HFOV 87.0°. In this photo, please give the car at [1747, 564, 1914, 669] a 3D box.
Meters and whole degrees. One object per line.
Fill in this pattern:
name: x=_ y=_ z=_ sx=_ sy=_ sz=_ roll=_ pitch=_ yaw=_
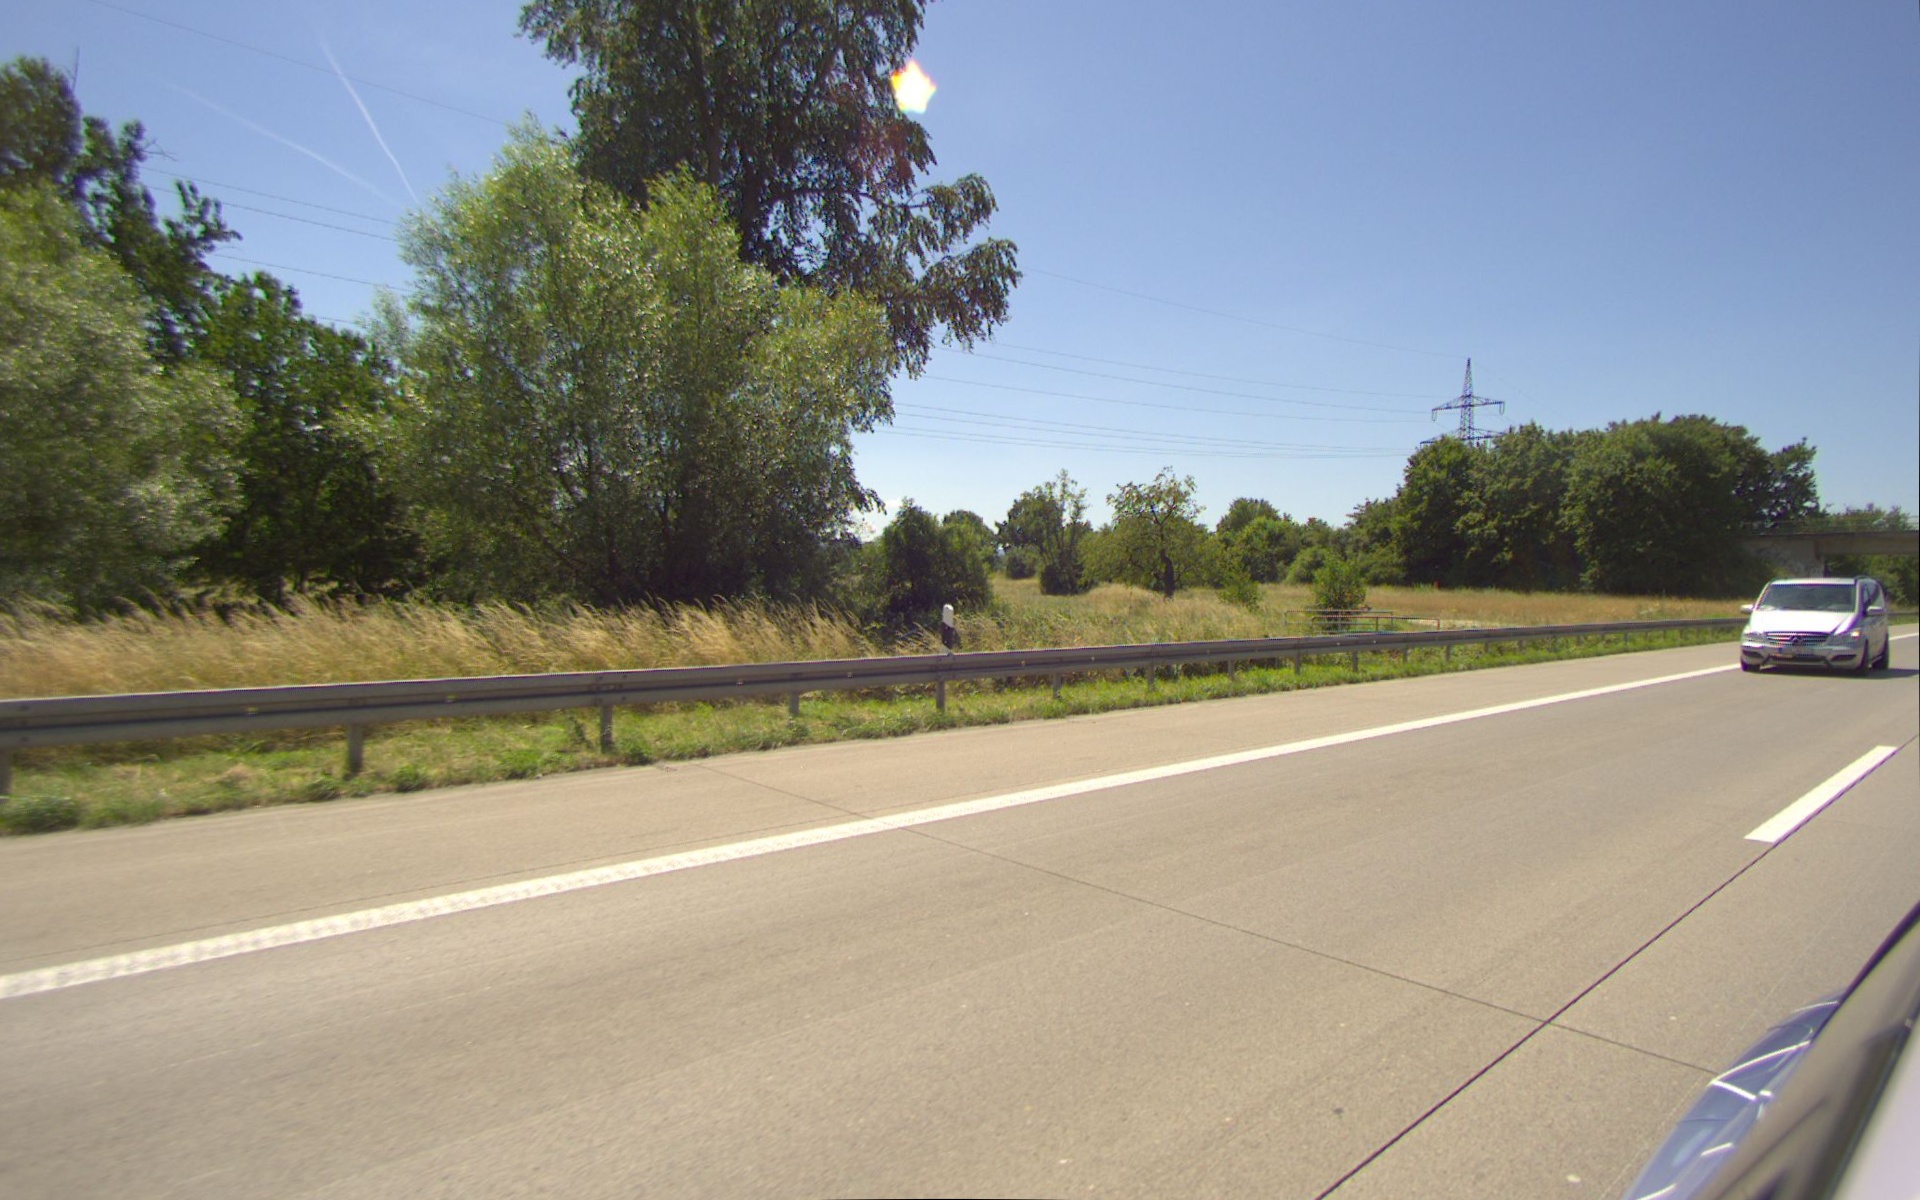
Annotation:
car: x=17.963 y=0.284 z=20.786 sx=5.187 sy=1.913 sz=1.882 roll=0 pitch=1 yaw=-41
